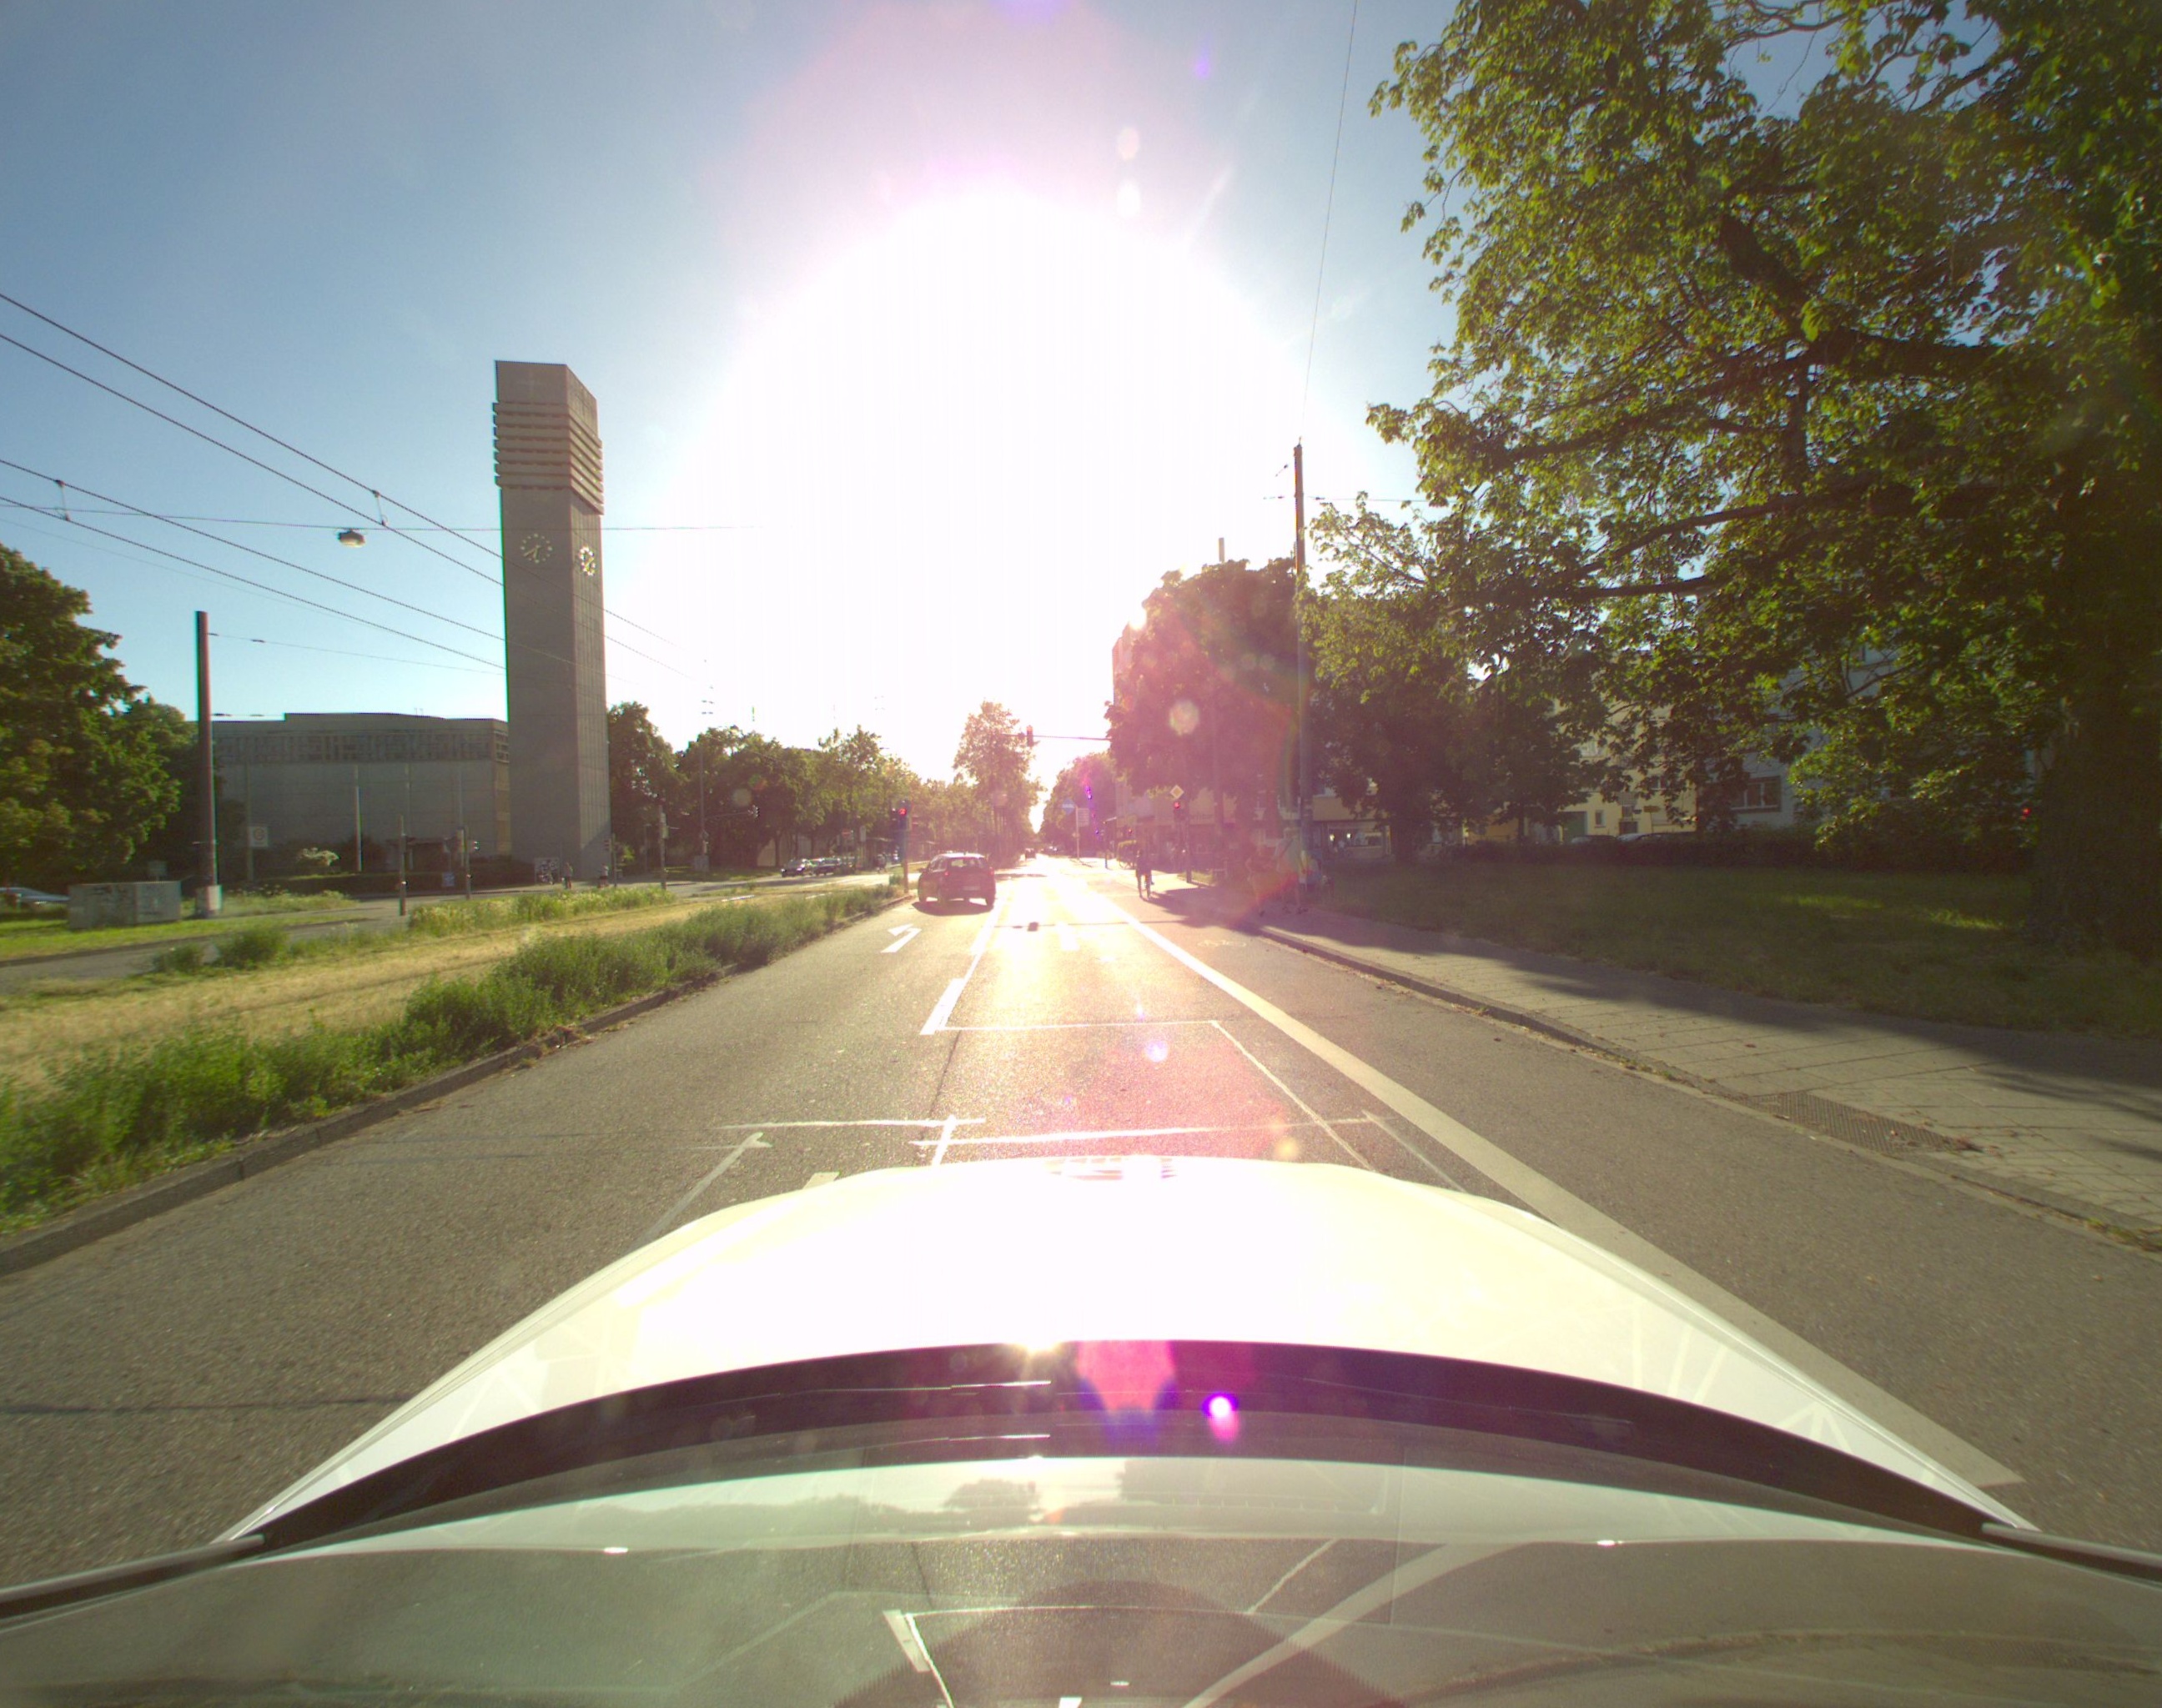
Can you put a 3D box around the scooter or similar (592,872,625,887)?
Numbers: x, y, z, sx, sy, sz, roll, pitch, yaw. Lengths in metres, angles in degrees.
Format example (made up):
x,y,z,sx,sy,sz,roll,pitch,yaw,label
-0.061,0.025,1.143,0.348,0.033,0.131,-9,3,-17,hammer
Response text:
x,y,z,sx,sy,sz,roll,pitch,yaw,label
-30.804,1.665,53.140,1.740,0.899,0.560,-2,1,-20,scooter or similar

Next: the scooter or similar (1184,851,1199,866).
x,y,z,sx,sy,sz,roll,pitch,yaw,label
5.457,0.234,40.130,0.596,0.737,0.680,0,1,-4,scooter or similar

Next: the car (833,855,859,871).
x,y,z,sx,sy,sz,roll,pitch,yaw,label
-22.262,0.846,77.169,1.563,1.402,3.910,0,1,-3,car

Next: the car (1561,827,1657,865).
x,y,z,sx,sy,sz,roll,pitch,yaw,label
23.167,-0.359,35.780,3.243,1.528,1.573,-2,1,-6,car

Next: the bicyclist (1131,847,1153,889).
x,y,z,sx,sy,sz,roll,pitch,yaw,label
1.957,0.431,26.216,0.636,1.323,0.802,0,0,-1,bicyclist

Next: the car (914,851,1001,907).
x,y,z,sx,sy,sz,roll,pitch,yaw,label
-3.773,0.674,24.405,1.702,1.508,3.670,0,1,-24,car

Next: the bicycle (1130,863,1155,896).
x,y,z,sx,sy,sz,roll,pitch,yaw,label
1.953,0.798,26.086,0.646,0.972,1.803,0,1,-1,bicycle

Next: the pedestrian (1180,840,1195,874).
x,y,z,sx,sy,sz,roll,pitch,yaw,label
5.328,0.136,40.736,0.725,1.682,0.534,0,0,8,pedestrian

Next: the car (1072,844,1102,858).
x,y,z,sx,sy,sz,roll,pitch,yaw,label
0.916,-0.403,114.742,3.966,1.859,2.016,0,1,7,car

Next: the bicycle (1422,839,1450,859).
x,y,z,sx,sy,sz,roll,pitch,yaw,label
18.733,-0.293,43.021,0.596,1.034,1.793,0,1,-4,bicycle

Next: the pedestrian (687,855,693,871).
x,y,z,sx,sy,sz,roll,pitch,yaw,label
-38.477,0.919,80.173,0.435,1.560,0.304,0,0,-8,pedestrian

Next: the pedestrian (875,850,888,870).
x,y,z,sx,sy,sz,roll,pitch,yaw,label
-15.693,0.458,64.070,0.889,1.606,0.613,0,0,-4,pedestrian

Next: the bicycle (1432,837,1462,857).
x,y,z,sx,sy,sz,roll,pitch,yaw,label
19.347,-0.386,43.111,0.596,1.034,2.004,0,1,-4,bicycle

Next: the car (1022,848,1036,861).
x,y,z,sx,sy,sz,roll,pitch,yaw,label
-7.237,0.053,113.093,1.965,1.859,3.993,0,1,-5,car

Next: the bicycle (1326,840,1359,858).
x,y,z,sx,sy,sz,roll,pitch,yaw,label
20.476,-0.422,63.796,2.466,1.399,0.607,0,0,-5,bicycle

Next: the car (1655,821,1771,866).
x,y,z,sx,sy,sz,roll,pitch,yaw,label
23.594,-0.409,30.458,3.243,1.528,1.573,-2,1,-6,car

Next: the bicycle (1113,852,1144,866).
x,y,z,sx,sy,sz,roll,pitch,yaw,label
3.611,0.361,62.116,2.237,0.987,0.791,-1,6,11,bicycle

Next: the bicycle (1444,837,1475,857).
x,y,z,sx,sy,sz,roll,pitch,yaw,label
20.028,-0.355,43.141,0.596,1.034,1.988,0,1,-4,bicycle

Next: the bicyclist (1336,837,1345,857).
x,y,z,sx,sy,sz,roll,pitch,yaw,label
20.154,-0.525,63.216,0.526,1.567,0.463,0,0,-6,bicyclist

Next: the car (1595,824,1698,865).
x,y,z,sx,sy,sz,roll,pitch,yaw,label
23.143,-0.385,33.389,3.243,1.528,1.573,-2,1,-6,car

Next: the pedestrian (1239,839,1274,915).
x,y,z,sx,sy,sz,roll,pitch,yaw,label
3.673,0.462,17.047,0.527,1.528,0.628,-4,0,2,pedestrian

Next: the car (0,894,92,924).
x,y,z,sx,sy,sz,roll,pitch,yaw,label
-55.364,2.857,42.411,4.703,1.401,1.994,0,1,-10,car

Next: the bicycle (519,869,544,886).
x,y,z,sx,sy,sz,roll,pitch,yaw,label
-37.640,1.603,55.820,0.489,1.045,1.685,0,1,4,bicycle

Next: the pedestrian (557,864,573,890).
x,y,z,sx,sy,sz,roll,pitch,yaw,label
-33.094,1.479,52.231,0.440,1.666,0.747,0,0,6,pedestrian

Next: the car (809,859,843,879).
x,y,z,sx,sy,sz,roll,pitch,yaw,label
-22.142,1.274,70.829,1.684,1.533,4.356,-2,1,-3,car

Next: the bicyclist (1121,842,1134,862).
x,y,z,sx,sy,sz,roll,pitch,yaw,label
3.527,-0.137,62.147,0.763,1.470,0.901,-3,2,13,bicyclist

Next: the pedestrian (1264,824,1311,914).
x,y,z,sx,sy,sz,roll,pitch,yaw,label
4.300,0.298,17.005,0.700,1.789,0.694,-4,2,2,pedestrian

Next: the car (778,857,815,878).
x,y,z,sx,sy,sz,roll,pitch,yaw,label
-24.470,1.136,70.191,1.803,1.533,4.356,-2,1,-3,car

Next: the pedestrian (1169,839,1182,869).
x,y,z,sx,sy,sz,roll,pitch,yaw,label
4.741,-0.008,40.752,0.643,1.522,0.497,0,0,8,pedestrian

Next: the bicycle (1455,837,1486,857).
x,y,z,sx,sy,sz,roll,pitch,yaw,label
20.654,-0.356,43.203,0.596,1.034,2.004,0,1,-4,bicycle
